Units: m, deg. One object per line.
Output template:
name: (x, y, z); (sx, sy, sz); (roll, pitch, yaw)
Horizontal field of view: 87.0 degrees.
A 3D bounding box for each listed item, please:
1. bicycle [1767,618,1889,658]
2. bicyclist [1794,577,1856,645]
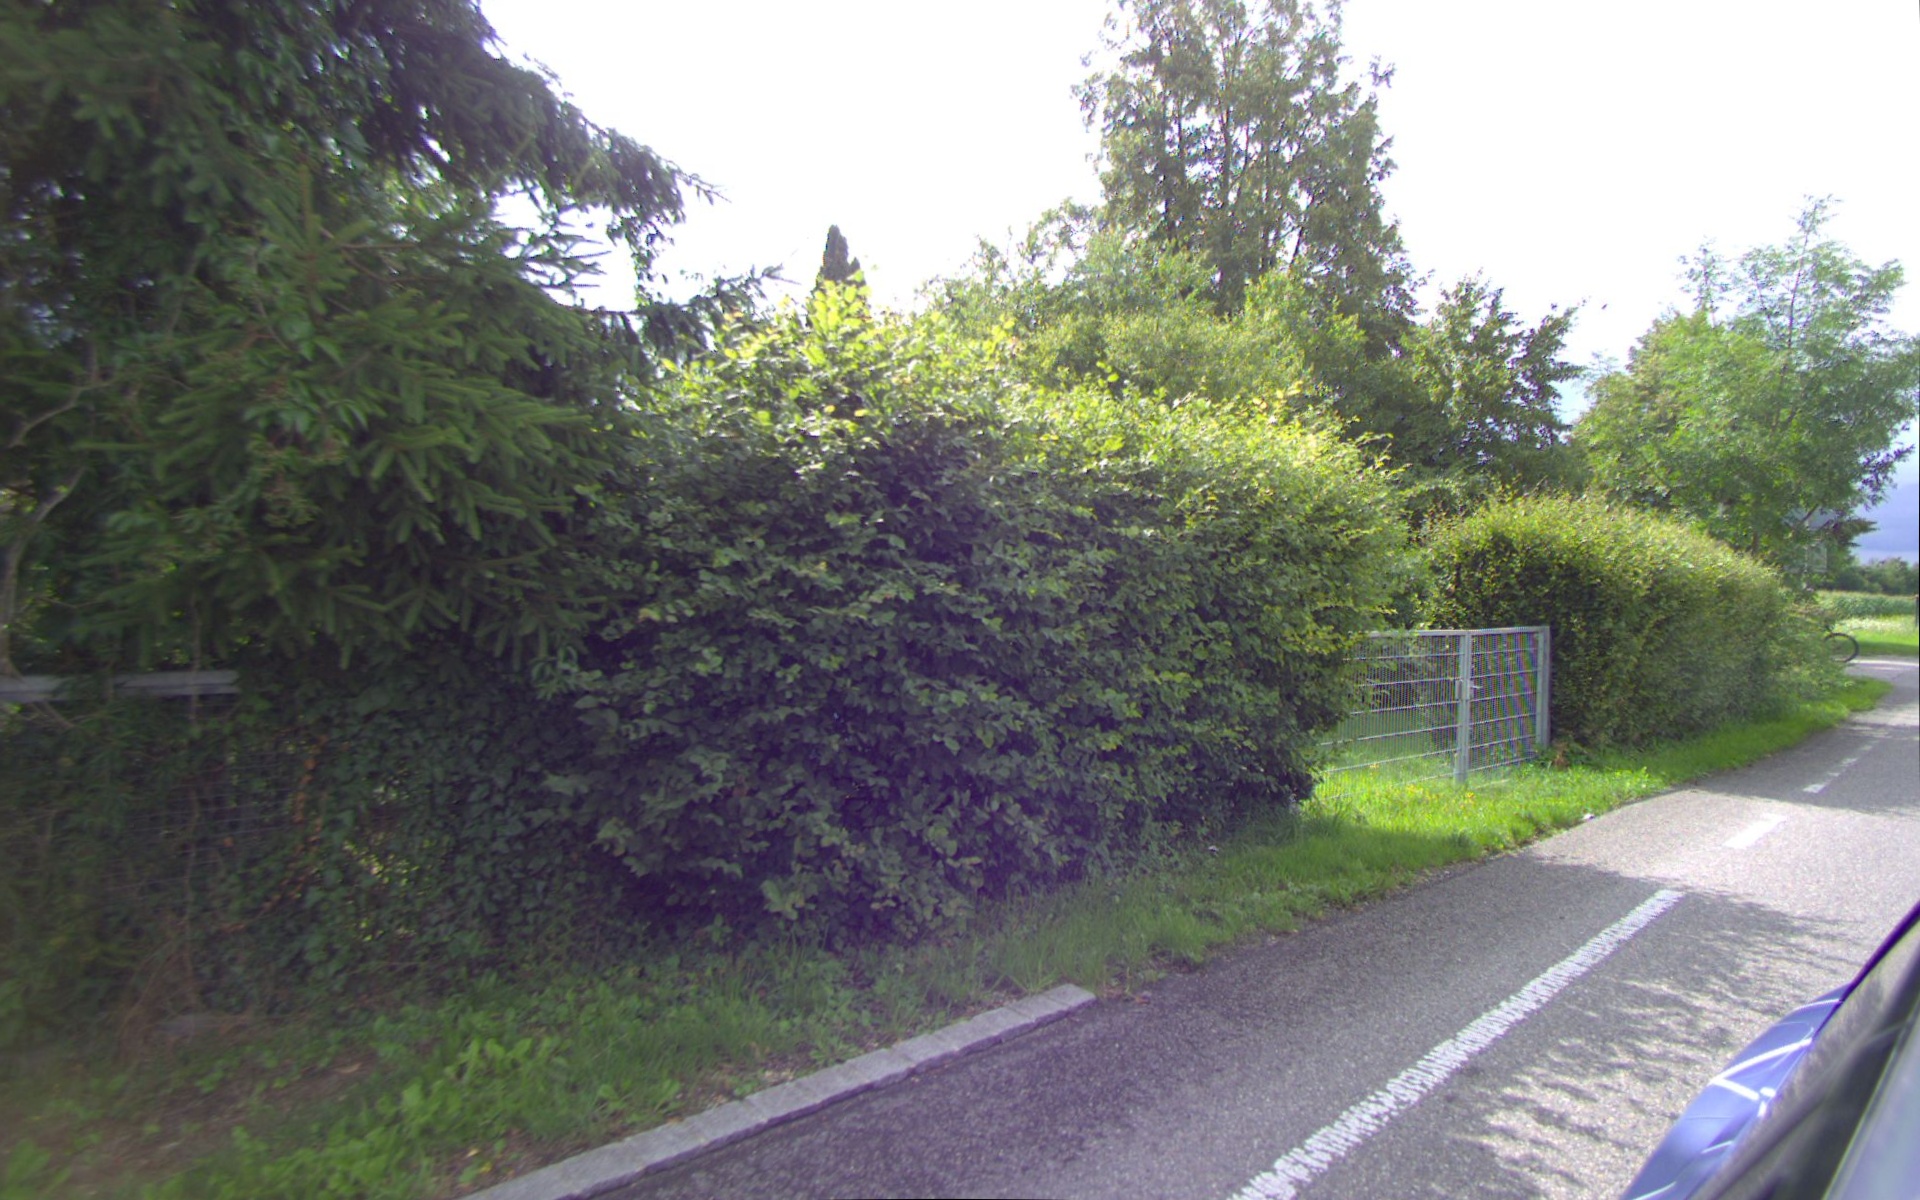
bicycle: (20.969, 0.897, 24.513); (2.108, 0.875, 1.041); (1, 0, 34)
bicyclist: (20.949, 0.260, 24.534); (1.013, 1.605, 1.041); (0, -1, 34)
